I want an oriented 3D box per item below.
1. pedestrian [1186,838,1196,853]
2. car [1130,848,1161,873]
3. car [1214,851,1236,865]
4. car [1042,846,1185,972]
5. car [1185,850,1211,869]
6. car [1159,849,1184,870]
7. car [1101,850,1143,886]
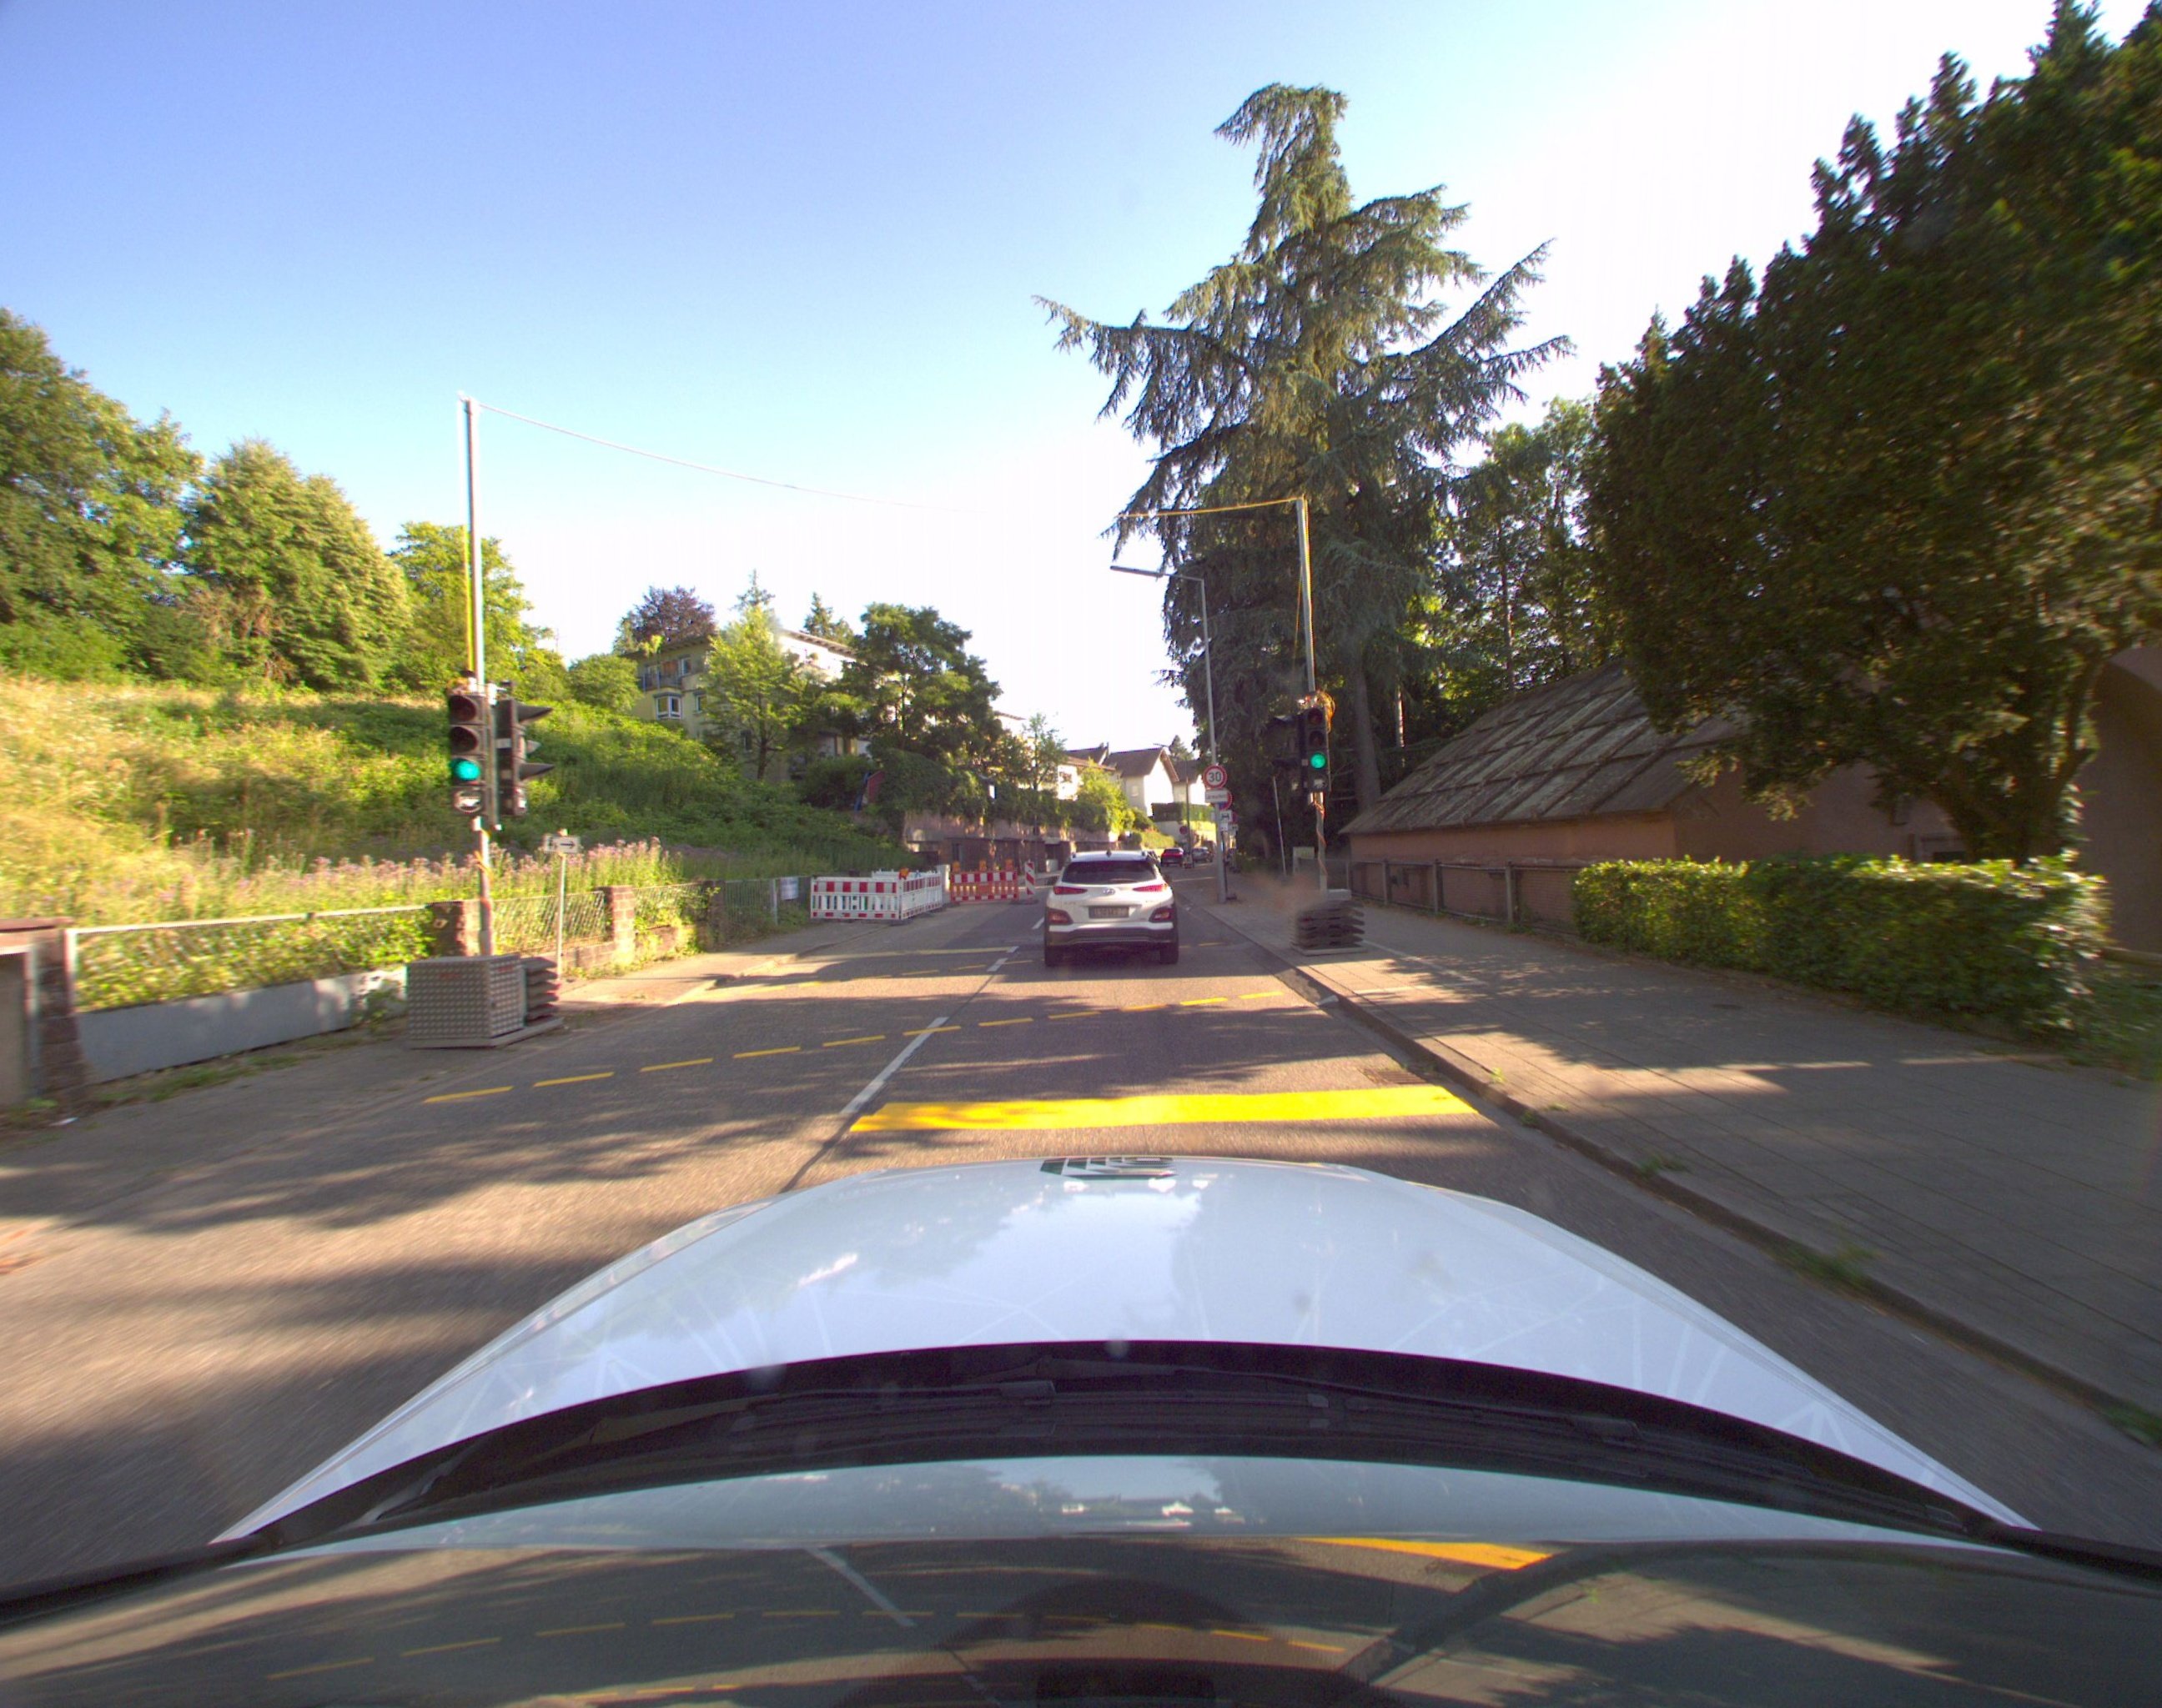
[{"bbox_3d":[13.889,-1.063,102.575,1.071,1.912,0.844,-1,0,18],"label":"pedestrian"},{"bbox_3d":[4.032,0.382,51.667,1.798,1.537,4.003,-1,0,2],"label":"car"},{"bbox_3d":[17.584,0.490,99.127,1.816,1.662,4.021,-1,0,21],"label":"car"},{"bbox_3d":[0.347,0.685,12.393,1.816,1.574,3.997,-1,0,-2],"label":"car"},{"bbox_3d":[11.865,0.563,82.569,1.817,1.740,4.019,-3,0,18],"label":"car"},{"bbox_3d":[7.722,0.431,69.214,1.820,1.662,4.012,-1,0,11],"label":"car"},{"bbox_3d":[1.751,0.560,35.557,1.701,1.434,4.367,-1,0,2],"label":"car"}]
